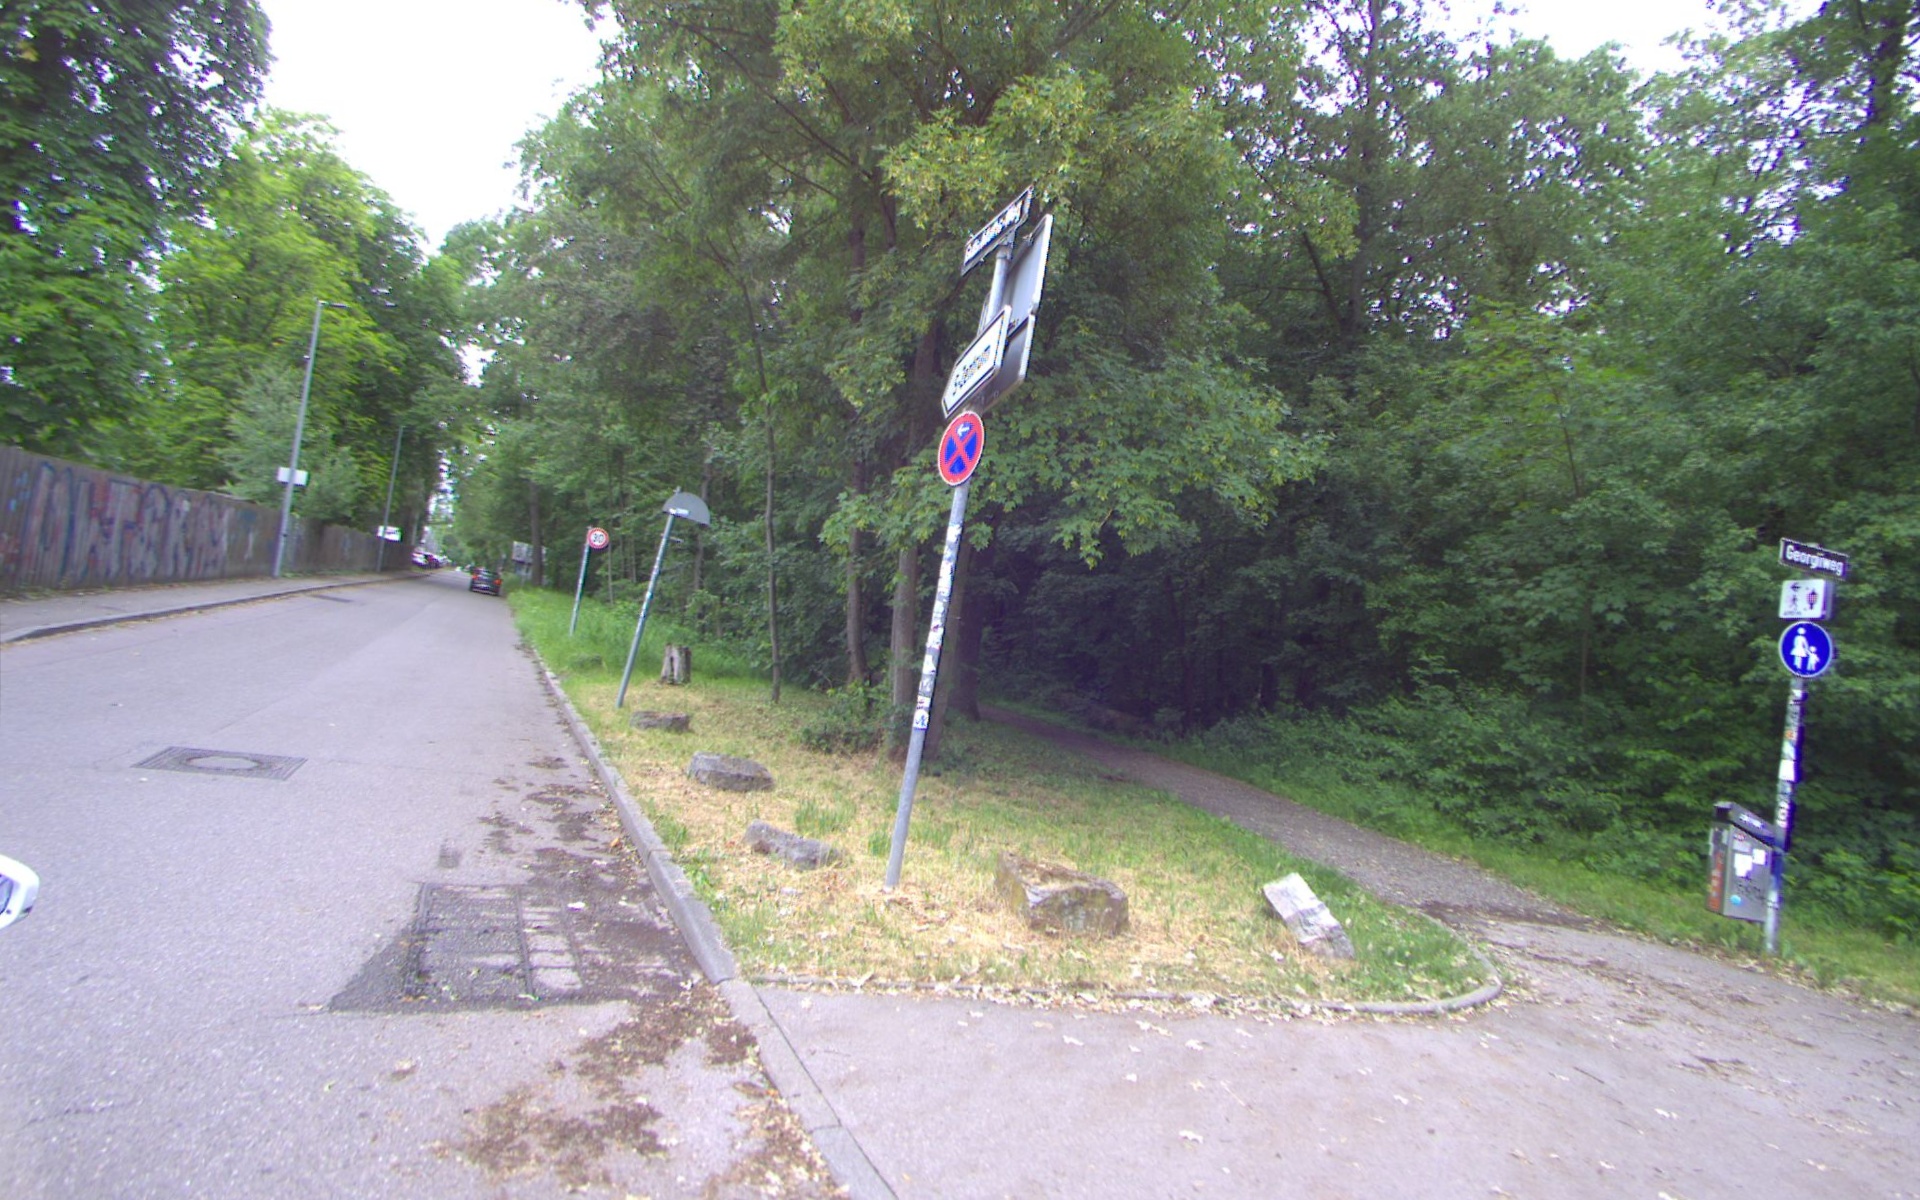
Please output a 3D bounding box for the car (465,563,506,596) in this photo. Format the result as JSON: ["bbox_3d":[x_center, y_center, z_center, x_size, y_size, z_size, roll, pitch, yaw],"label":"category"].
[{"bbox_3d":[-28.641,-1.201,60.803,1.893,1.522,3.979,13,-4,-23],"label":"car"}]

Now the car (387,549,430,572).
[{"bbox_3d":[-60.454,-4.293,110.331,3.960,1.769,1.986,11,-3,-29],"label":"car"}]

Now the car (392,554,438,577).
[{"bbox_3d":[-55.105,-3.490,101.764,3.959,1.591,1.986,11,-3,-29],"label":"car"}]

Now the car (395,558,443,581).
[{"bbox_3d":[-53.668,-3.050,99.897,3.960,1.591,1.986,11,-3,-29],"label":"car"}]
